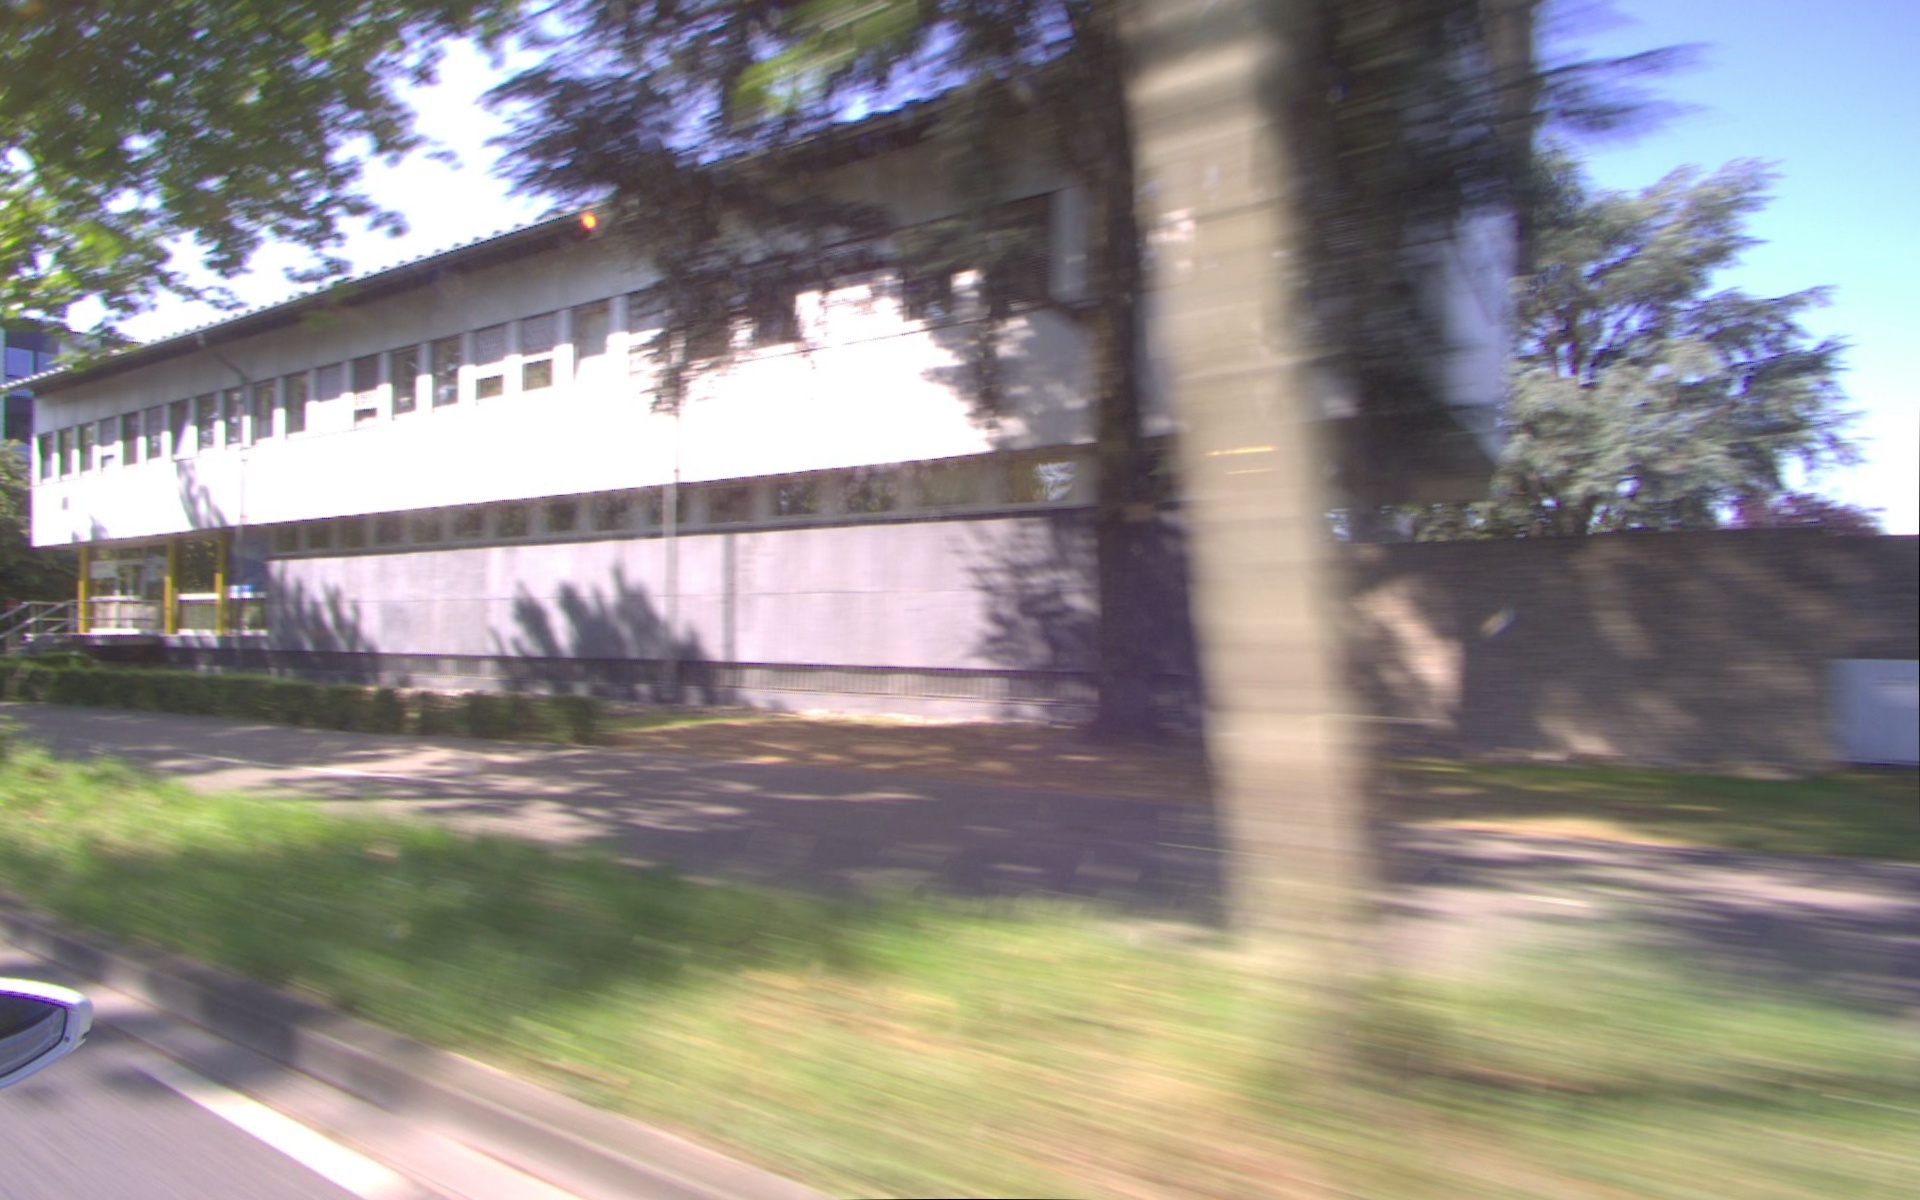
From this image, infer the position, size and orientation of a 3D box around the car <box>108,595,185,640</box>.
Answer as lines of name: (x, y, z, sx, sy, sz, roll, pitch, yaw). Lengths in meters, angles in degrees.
car: (-32.682, 0.699, 40.322, 1.656, 1.684, 3.732, -2, 0, -28)

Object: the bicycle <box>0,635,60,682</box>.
bicycle: (-24.418, 1.502, 25.859, 0.503, 1.145, 1.663, 0, 1, 39)
